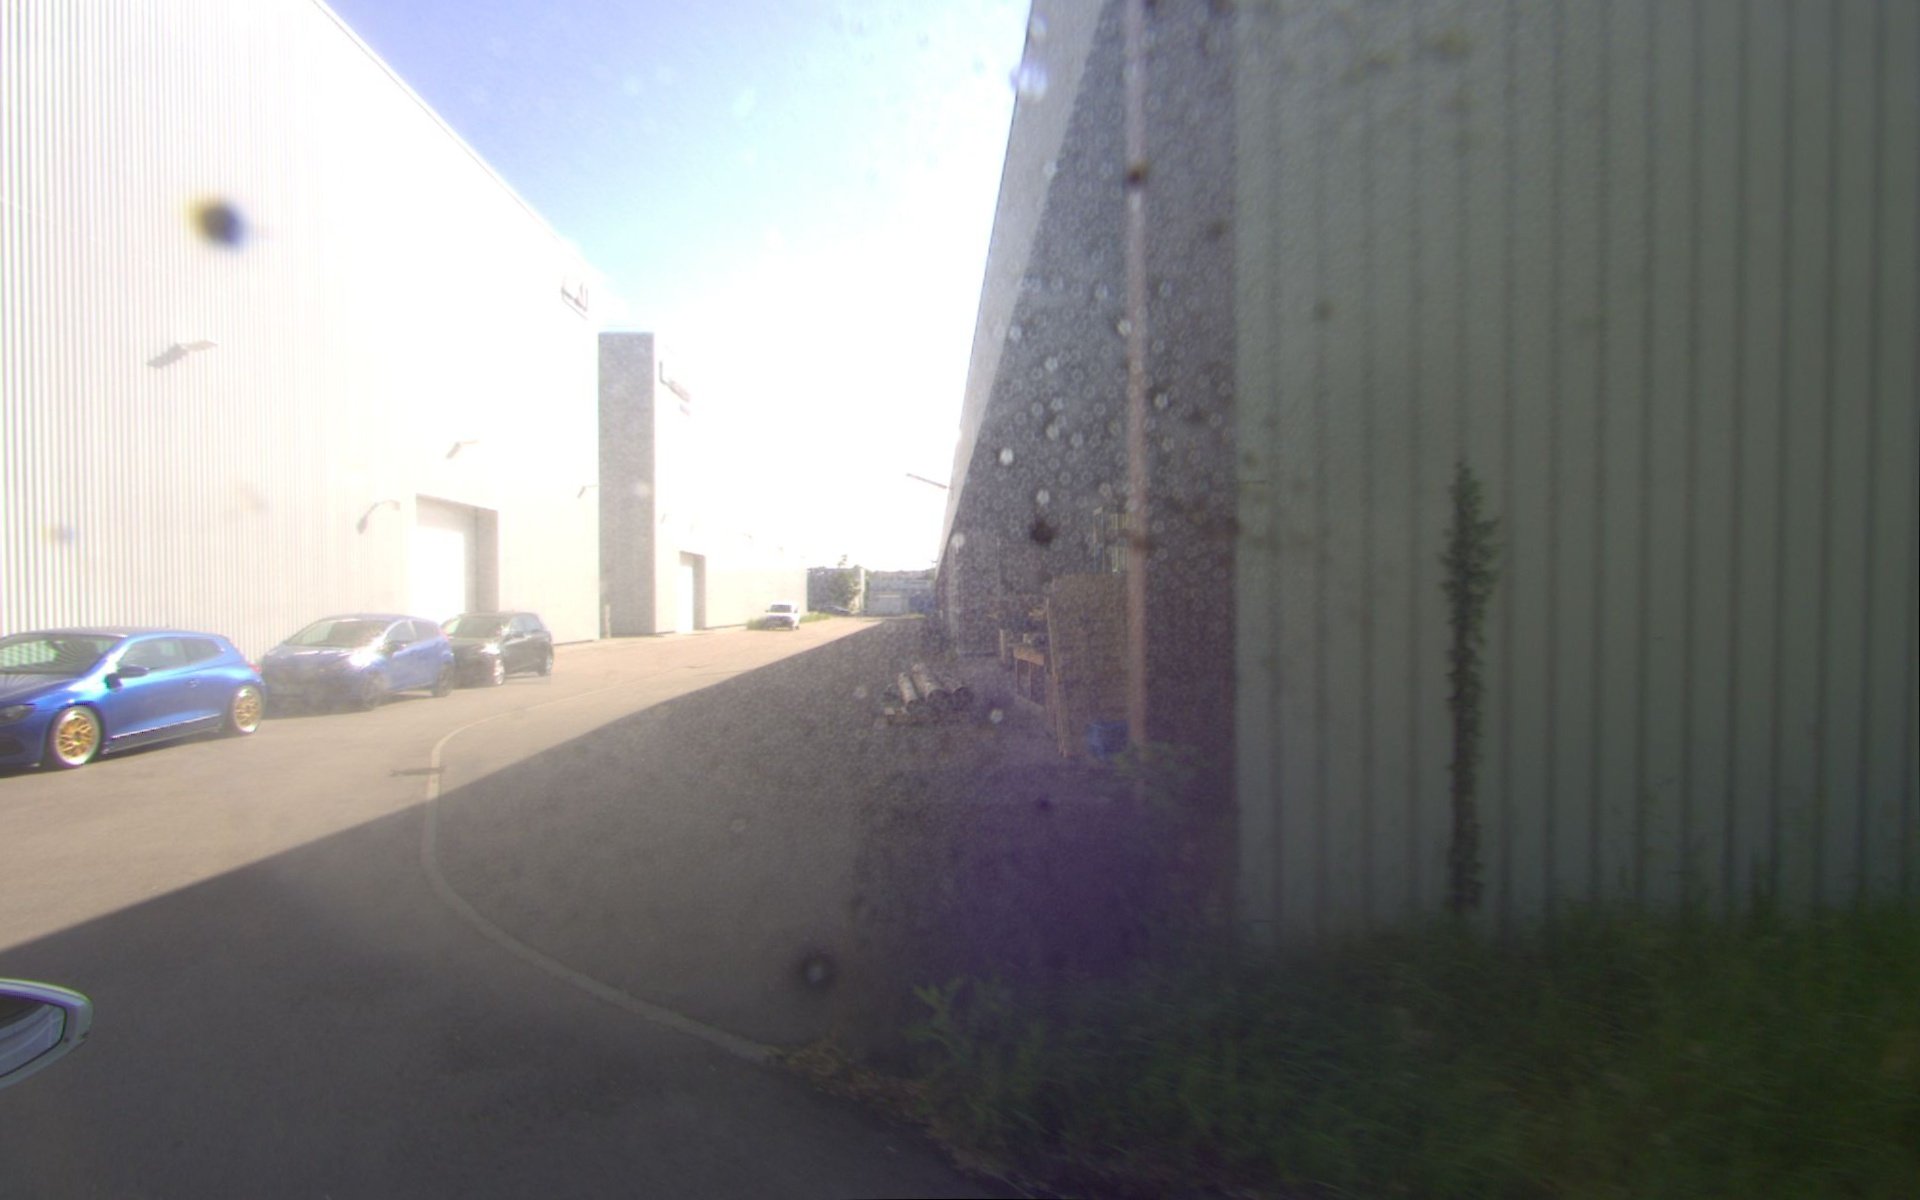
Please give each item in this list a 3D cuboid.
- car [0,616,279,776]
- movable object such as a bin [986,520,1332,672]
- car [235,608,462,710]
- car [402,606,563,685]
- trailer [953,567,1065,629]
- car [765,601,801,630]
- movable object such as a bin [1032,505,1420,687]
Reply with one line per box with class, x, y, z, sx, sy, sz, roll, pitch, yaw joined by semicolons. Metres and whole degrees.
car;-9.597;0.905;11.004;1.641;1.367;3.953;2;0;-3
movable object such as a bin;4.062;-0.069;21.516;6.822;2.943;2.685;-1;0;-2
car;-9.905;0.889;16.566;1.593;1.466;3.764;1;0;-3
car;-10.077;0.916;21.473;1.624;1.465;3.878;3;-1;-2
trailer;2.795;-0.101;58.922;6.285;3.415;2.824;-1;0;-3
car;-11.326;0.986;64.332;1.877;1.817;4.000;0;0;-4
movable object such as a bin;4.583;-0.071;18.138;6.250;2.943;2.685;-1;0;-2
